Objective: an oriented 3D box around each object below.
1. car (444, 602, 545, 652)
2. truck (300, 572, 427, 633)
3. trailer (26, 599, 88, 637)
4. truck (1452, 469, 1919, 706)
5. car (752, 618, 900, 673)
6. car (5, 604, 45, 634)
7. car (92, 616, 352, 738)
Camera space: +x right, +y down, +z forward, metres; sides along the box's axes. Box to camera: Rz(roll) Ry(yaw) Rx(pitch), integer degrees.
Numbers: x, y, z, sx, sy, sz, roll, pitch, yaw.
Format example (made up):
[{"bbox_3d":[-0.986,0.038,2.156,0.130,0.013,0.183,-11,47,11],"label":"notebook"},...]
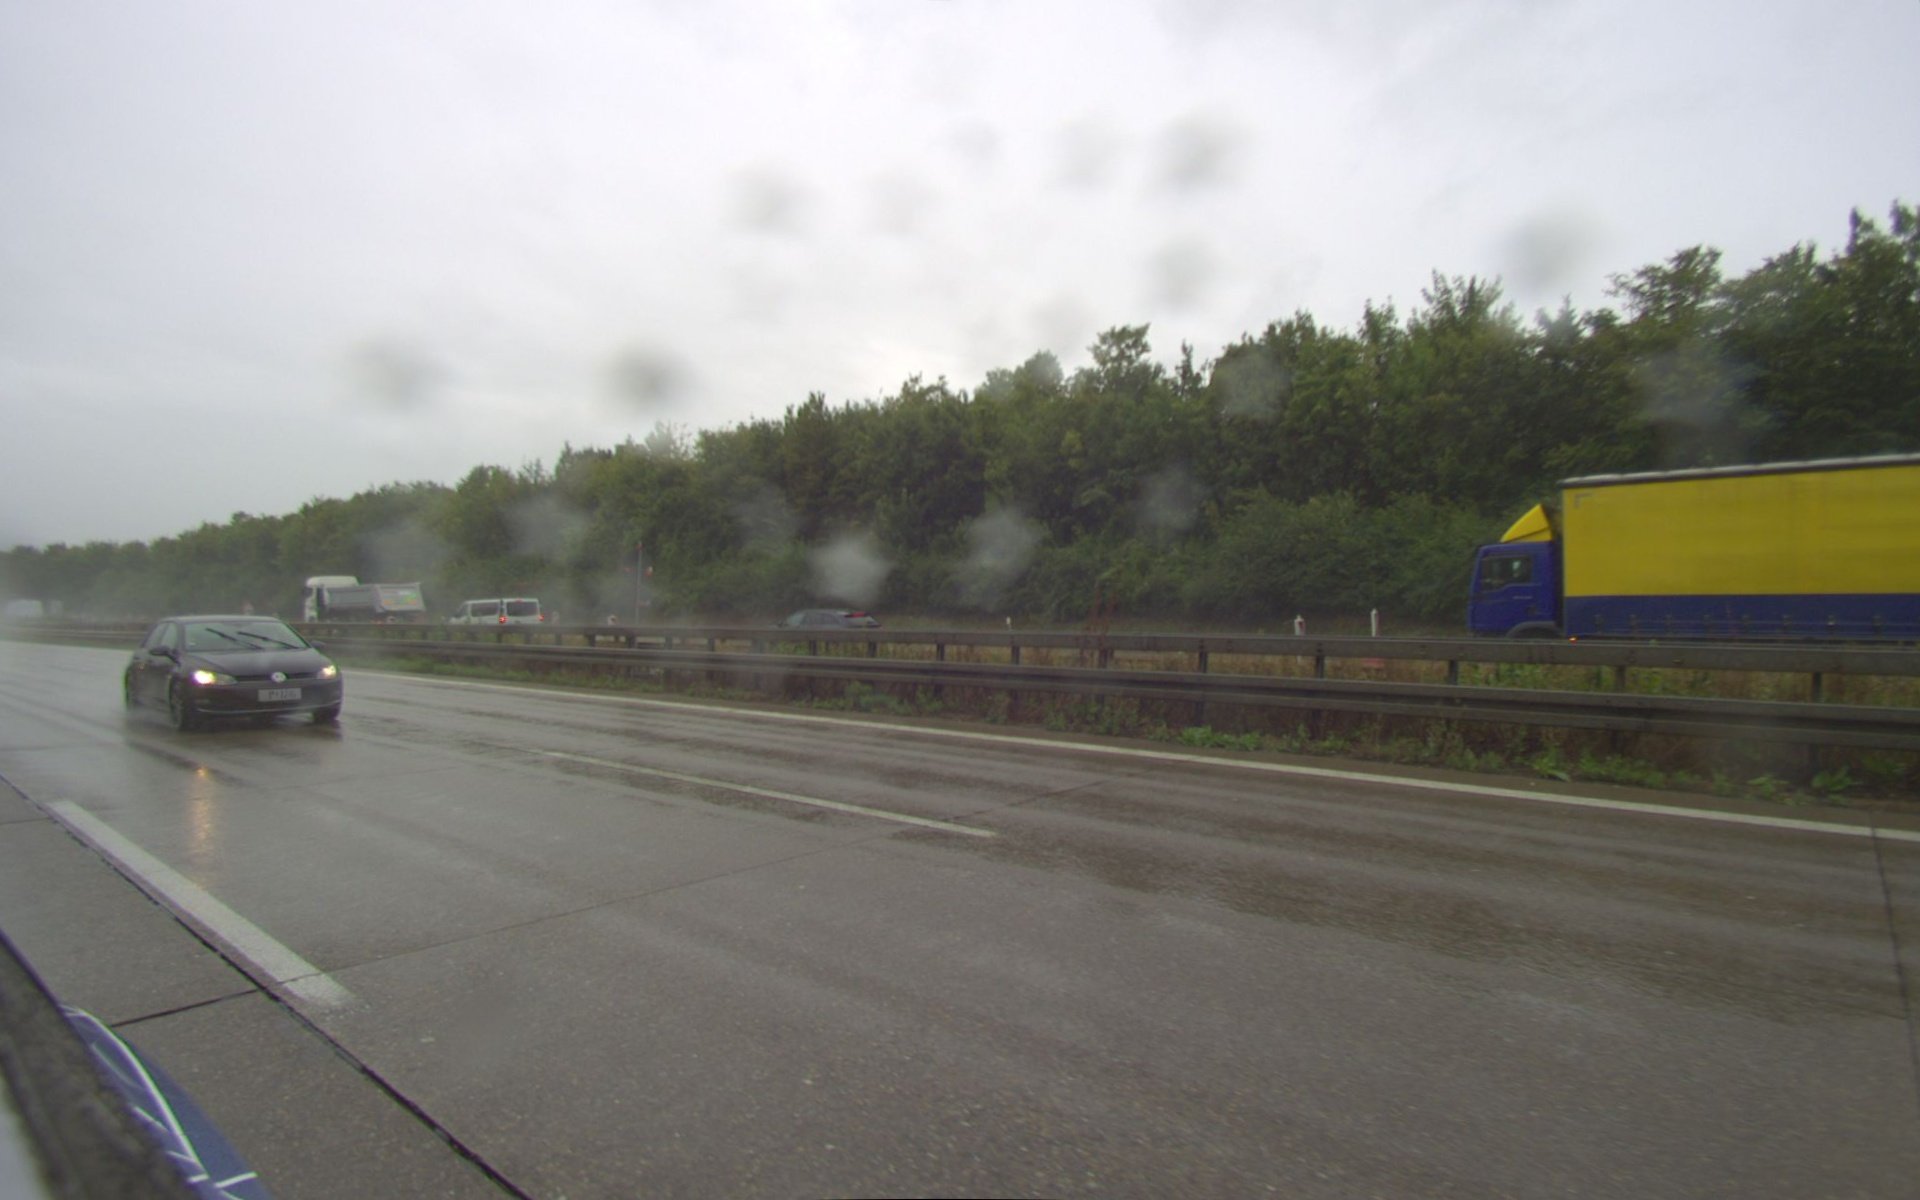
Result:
[{"bbox_3d":[-20.165,1.127,43.720,5.194,2.029,1.957,-1,0,40],"label":"car"},{"bbox_3d":[-35.562,0.253,60.091,11.504,3.341,2.746,-1,-1,40],"label":"truck"},{"bbox_3d":[-97.766,1.981,109.501,12.857,3.886,3.105,-1,-1,40],"label":"trailer"},{"bbox_3d":[14.457,-0.166,18.120,9.796,3.728,2.557,-1,-1,42],"label":"truck"},{"bbox_3d":[-4.069,1.300,30.316,4.470,1.495,1.896,-1,0,40],"label":"car"},{"bbox_3d":[-93.860,1.901,101.609,6.527,2.922,2.068,-1,-1,39],"label":"car"},{"bbox_3d":[-10.068,0.943,13.701,4.316,1.398,1.724,-1,-3,38],"label":"car"}]
